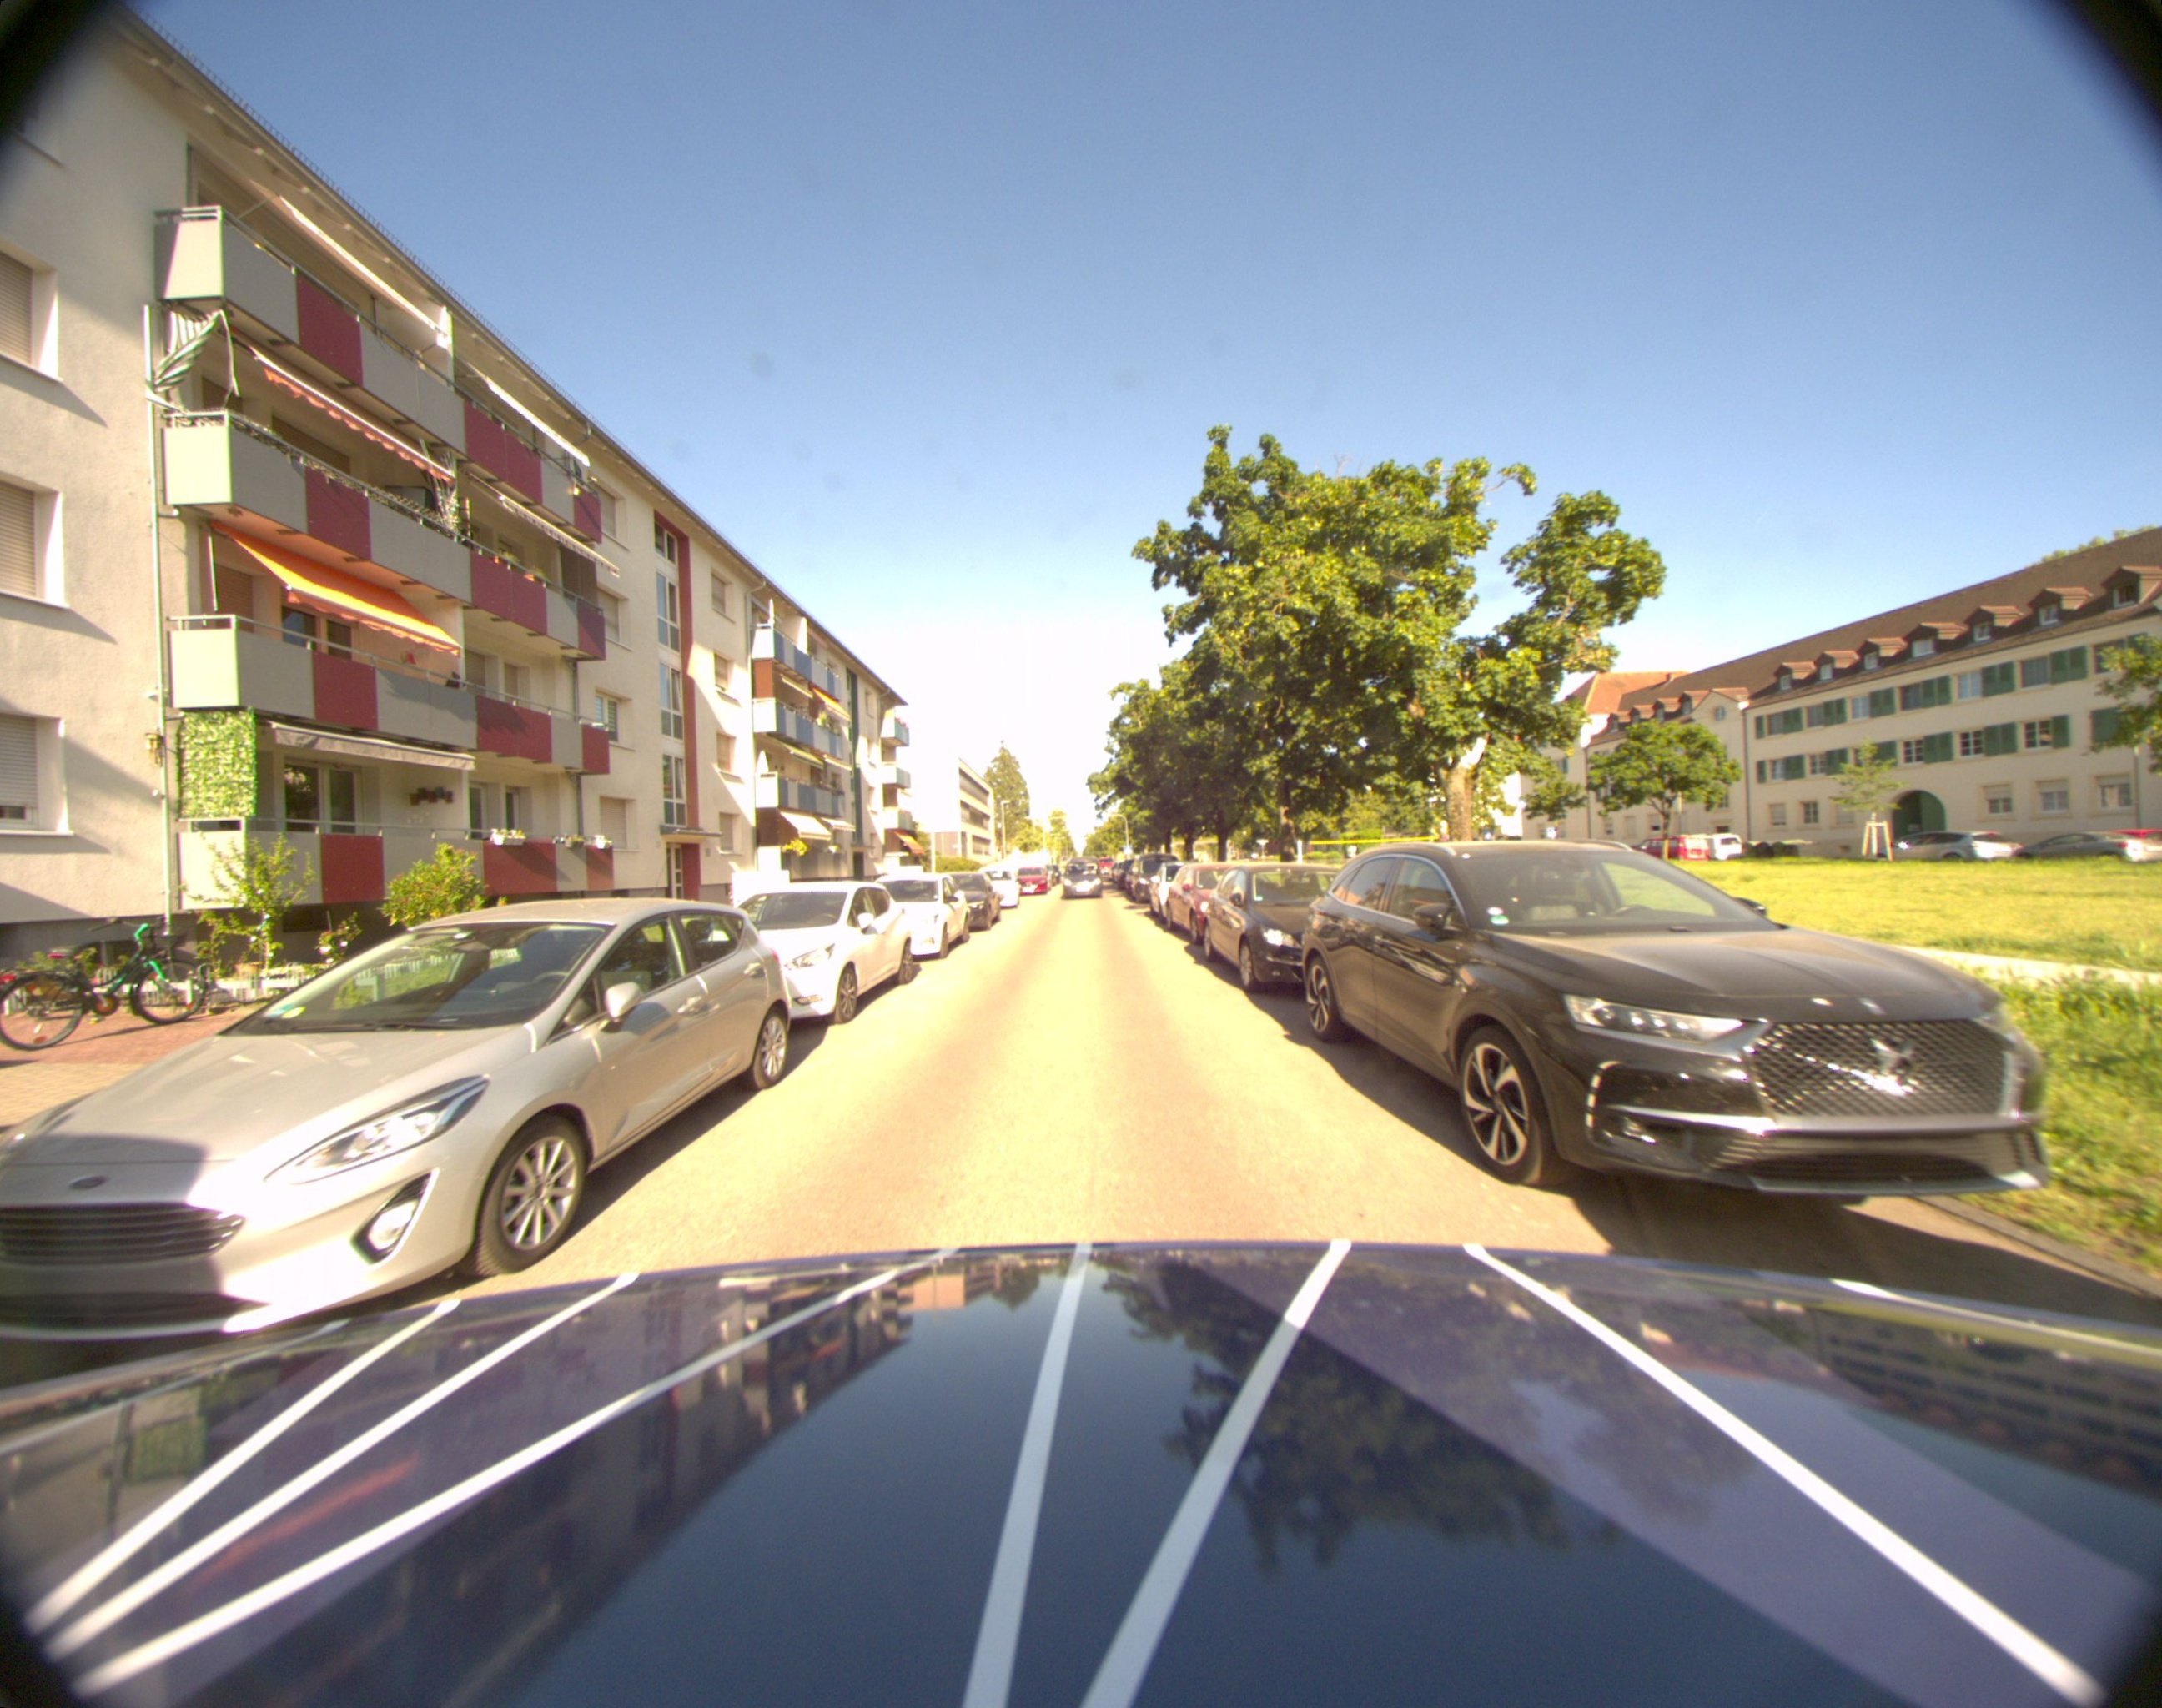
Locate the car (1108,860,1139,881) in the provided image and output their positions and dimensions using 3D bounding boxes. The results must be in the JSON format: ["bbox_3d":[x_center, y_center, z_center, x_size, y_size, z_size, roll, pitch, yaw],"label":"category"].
[{"bbox_3d":[3.138,1.193,57.033,1.840,1.444,4.967,-2,0,-2],"label":"car"}]

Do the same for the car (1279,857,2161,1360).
[{"bbox_3d":[2.773,0.835,4.821,1.824,1.600,4.739,-1,0,0],"label":"car"}]

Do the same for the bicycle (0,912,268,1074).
[{"bbox_3d":[-9.313,1.258,7.384,0.597,1.169,2.013,-2,2,0],"label":"bicycle"}]

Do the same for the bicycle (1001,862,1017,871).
[{"bbox_3d":[-9.399,1.620,99.591,2.030,1.057,0.883,1,0,0],"label":"bicycle"}]

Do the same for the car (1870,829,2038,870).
[{"bbox_3d":[43.486,-0.198,38.096,2.456,1.809,5.258,-2,0,2],"label":"car"}]

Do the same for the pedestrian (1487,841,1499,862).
[{"bbox_3d":[32.932,-0.216,60.719,0.544,1.675,0.674,-2,0,5],"label":"pedestrian"}]

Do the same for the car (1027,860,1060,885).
[{"bbox_3d":[-2.433,1.180,50.230,1.774,1.520,4.558,-2,0,2],"label":"car"}]

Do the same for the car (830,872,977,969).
[{"bbox_3d":[-3.152,1.123,14.345,1.725,1.427,4.153,-2,0,1],"label":"car"}]

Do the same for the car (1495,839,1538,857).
[{"bbox_3d":[50.580,-0.715,88.275,3.812,1.944,2.043,-2,0,2],"label":"car"}]

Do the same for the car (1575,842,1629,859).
[{"bbox_3d":[43.261,-0.256,63.188,1.773,1.348,4.000,-2,0,0],"label":"car"}]

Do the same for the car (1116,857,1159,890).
[{"bbox_3d":[2.957,0.970,40.630,2.031,1.616,4.757,-1,0,2],"label":"car"}]

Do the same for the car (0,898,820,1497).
[{"bbox_3d":[-3.137,1.135,4.282,1.854,1.457,4.201,-3,0,-1],"label":"car"}]

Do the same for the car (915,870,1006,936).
[{"bbox_3d":[-3.007,1.174,19.775,1.704,1.427,4.471,-1,0,-1],"label":"car"}]

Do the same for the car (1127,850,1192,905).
[{"bbox_3d":[2.822,0.779,28.272,1.869,1.774,4.991,-2,1,1],"label":"car"}]

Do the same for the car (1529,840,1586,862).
[{"bbox_3d":[37.687,-0.202,60.233,1.793,1.574,4.235,-2,0,-1],"label":"car"}]

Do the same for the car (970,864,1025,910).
[{"bbox_3d":[-3.054,1.165,28.357,1.752,1.490,3.860,-2,0,-3],"label":"car"}]

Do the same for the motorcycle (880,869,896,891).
[{"bbox_3d":[-10.824,1.464,42.666,0.584,1.144,2.036,-2,0,-9],"label":"motorcycle"}]

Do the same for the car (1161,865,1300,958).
[{"bbox_3d":[2.743,0.992,15.023,1.760,1.483,4.667,-1,0,-1],"label":"car"}]

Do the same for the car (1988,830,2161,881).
[{"bbox_3d":[37.849,0.040,28.746,2.323,1.740,4.009,-2,0,2],"label":"car"}]

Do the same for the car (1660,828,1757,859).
[{"bbox_3d":[43.303,-0.664,52.649,2.226,1.973,5.257,-2,0,-2],"label":"car"}]

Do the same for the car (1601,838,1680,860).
[{"bbox_3d":[40.542,-0.318,55.230,1.999,1.476,4.958,-2,0,0],"label":"car"}]

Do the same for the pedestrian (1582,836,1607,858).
[{"bbox_3d":[45.662,-0.615,67.616,1.343,1.952,1.163,-2,0,-5],"label":"pedestrian"}]

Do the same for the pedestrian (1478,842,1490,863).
[{"bbox_3d":[32.209,-0.136,60.783,0.545,1.675,0.750,-2,0,2],"label":"pedestrian"}]

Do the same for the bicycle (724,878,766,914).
[{"bbox_3d":[-11.048,1.360,25.040,0.524,1.064,2.009,0,0,0],"label":"bicycle"}]

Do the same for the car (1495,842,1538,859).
[{"bbox_3d":[37.523,-0.290,65.581,1.654,1.325,3.515,-2,0,-1],"label":"car"}]

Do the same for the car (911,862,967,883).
[{"bbox_3d":[-12.111,1.559,64.933,4.419,1.614,1.914,-2,0,-2],"label":"car"}]

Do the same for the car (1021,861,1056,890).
[{"bbox_3d":[-2.519,1.253,45.083,1.878,1.525,4.492,-2,0,-3],"label":"car"}]

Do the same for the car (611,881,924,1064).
[{"bbox_3d":[-3.278,1.150,8.969,1.882,1.466,4.140,-2,0,1],"label":"car"}]

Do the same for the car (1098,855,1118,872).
[{"bbox_3d":[3.104,1.046,85.775,2.021,1.867,4.741,-2,0,4],"label":"car"}]

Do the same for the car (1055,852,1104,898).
[{"bbox_3d":[-0.064,0.885,32.913,1.903,1.779,4.157,-2,-1,0],"label":"car"}]

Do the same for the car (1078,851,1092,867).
[{"bbox_3d":[0.664,0.818,128.888,2.074,2.583,6.203,-2,0,2],"label":"car"}]

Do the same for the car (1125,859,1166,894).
[{"bbox_3d":[2.864,0.956,34.362,1.542,1.420,4.088,-2,0,1],"label":"car"}]

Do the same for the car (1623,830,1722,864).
[{"bbox_3d":[37.940,-0.428,48.957,2.226,1.973,5.258,-2,0,0],"label":"car"}]

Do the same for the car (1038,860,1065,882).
[{"bbox_3d":[-2.135,1.227,55.702,1.662,1.465,3.793,-4,0,1],"label":"car"}]

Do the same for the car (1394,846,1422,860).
[{"bbox_3d":[43.238,-0.141,100.612,1.955,1.783,4.000,-2,0,2],"label":"car"}]

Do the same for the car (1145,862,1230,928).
[{"bbox_3d":[2.634,0.978,19.467,1.590,1.484,3.685,-1,0,-1],"label":"car"}]

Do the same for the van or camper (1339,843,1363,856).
[{"bbox_3d":[43.383,-0.708,122.346,2.273,2.002,4.374,-2,0,1],"label":"van or camper"}]

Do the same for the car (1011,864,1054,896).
[{"bbox_3d":[-2.452,1.294,39.386,1.848,1.464,5.065,-2,0,0],"label":"car"}]

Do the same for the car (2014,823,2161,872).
[{"bbox_3d":[43.425,-0.264,32.312,2.269,1.894,4.167,-2,0,-1],"label":"car"}]

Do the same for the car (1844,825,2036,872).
[{"bbox_3d":[37.866,-0.209,33.803,2.456,1.809,5.454,-2,0,2],"label":"car"}]

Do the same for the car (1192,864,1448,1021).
[{"bbox_3d":[2.724,0.917,9.852,1.878,1.510,4.470,0,0,-1],"label":"car"}]
